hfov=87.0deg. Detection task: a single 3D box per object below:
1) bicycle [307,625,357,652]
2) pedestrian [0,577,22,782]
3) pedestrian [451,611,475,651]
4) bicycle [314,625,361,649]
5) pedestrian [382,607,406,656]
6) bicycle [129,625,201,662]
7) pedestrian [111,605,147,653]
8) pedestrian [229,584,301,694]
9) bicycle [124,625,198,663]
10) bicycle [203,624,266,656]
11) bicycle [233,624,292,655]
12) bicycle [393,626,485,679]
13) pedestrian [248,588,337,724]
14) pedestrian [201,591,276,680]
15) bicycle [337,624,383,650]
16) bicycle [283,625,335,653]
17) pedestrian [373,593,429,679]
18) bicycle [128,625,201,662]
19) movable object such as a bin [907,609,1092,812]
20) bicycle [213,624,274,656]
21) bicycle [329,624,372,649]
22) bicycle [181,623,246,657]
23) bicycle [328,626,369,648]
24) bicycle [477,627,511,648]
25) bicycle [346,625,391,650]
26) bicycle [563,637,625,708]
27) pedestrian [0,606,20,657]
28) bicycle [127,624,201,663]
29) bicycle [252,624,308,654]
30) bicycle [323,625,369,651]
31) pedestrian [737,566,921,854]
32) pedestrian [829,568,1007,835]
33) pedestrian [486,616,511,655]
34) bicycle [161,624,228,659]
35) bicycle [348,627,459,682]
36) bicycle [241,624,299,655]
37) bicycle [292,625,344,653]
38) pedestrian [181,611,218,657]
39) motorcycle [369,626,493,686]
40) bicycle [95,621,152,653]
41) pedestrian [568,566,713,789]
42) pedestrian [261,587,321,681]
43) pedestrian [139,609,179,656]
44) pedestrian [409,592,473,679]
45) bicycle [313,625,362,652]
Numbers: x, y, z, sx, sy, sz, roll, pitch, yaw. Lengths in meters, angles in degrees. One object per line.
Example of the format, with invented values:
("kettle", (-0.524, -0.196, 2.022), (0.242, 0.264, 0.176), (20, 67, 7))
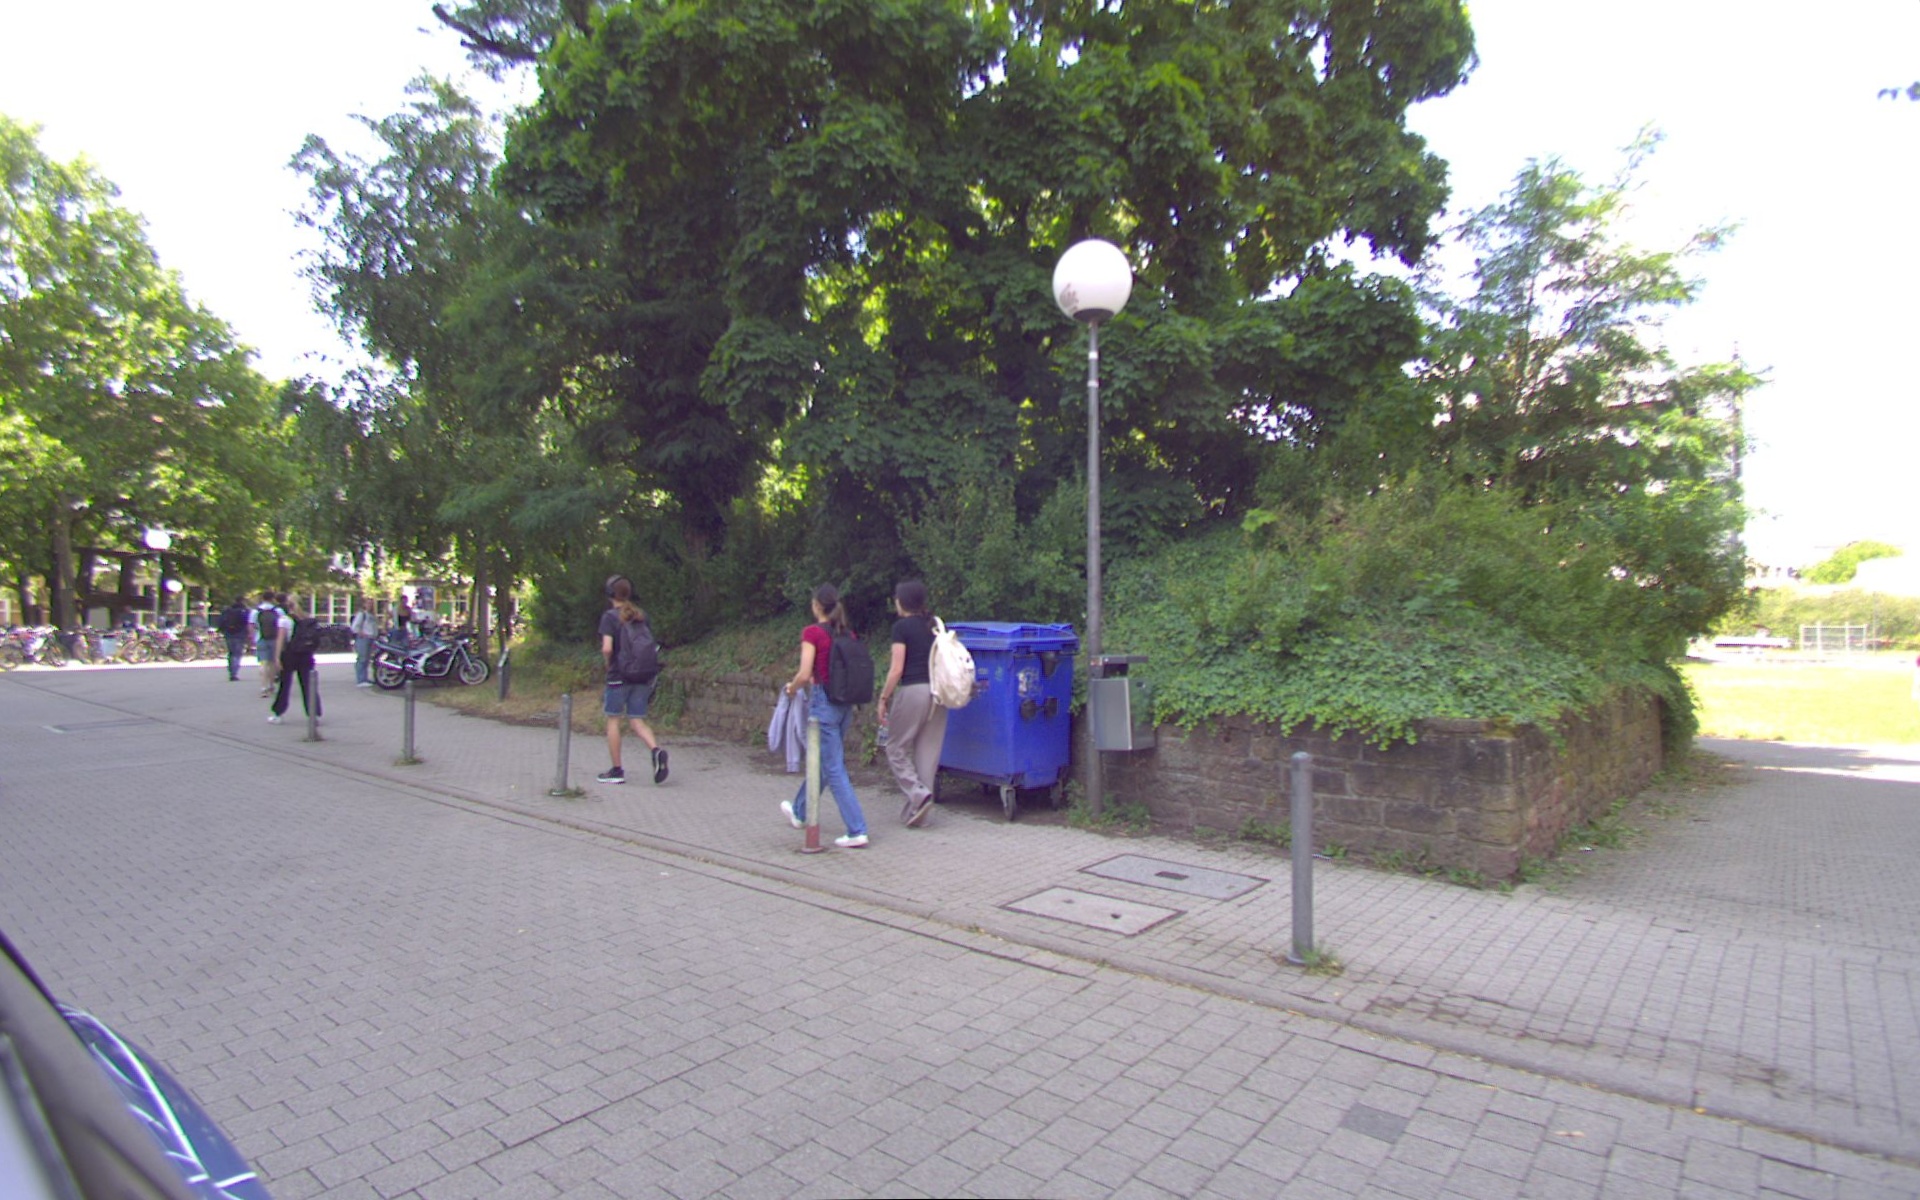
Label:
("bicycle", (-25.498, 1.568, 41.131), (1.673, 1.092, 0.475), (0, -1, -7))
("pedestrian", (-8.465, 0.675, 8.336), (0.675, 1.737, 0.905), (0, -1, -7))
("pedestrian", (-22.766, 1.409, 46.376), (0.820, 1.829, 0.885), (0, -1, -17))
("bicycle", (-26.003, 1.555, 42.295), (1.716, 0.969, 0.452), (0, -1, 1))
("pedestrian", (-21.782, 1.218, 38.978), (0.603, 1.849, 1.053), (1, -1, -19))
("bicycle", (-24.310, 1.320, 30.983), (1.670, 1.092, 0.475), (1, -1, -31))
("pedestrian", (-31.707, 1.099, 38.615), (0.701, 1.820, 0.768), (0, -1, 7))
("pedestrian", (-12.353, 0.671, 17.983), (1.080, 1.895, 0.717), (0, -1, 36))
("bicycle", (-23.752, 1.285, 30.118), (1.695, 1.092, 0.475), (1, -1, -36))
("bicycle", (-24.679, 1.351, 34.450), (1.671, 1.092, 0.475), (0, -1, -12))
("bicycle", (-25.117, 1.416, 36.461), (1.671, 1.092, 0.475), (0, -1, -15))
("bicycle", (-10.948, 1.102, 21.268), (1.675, 1.055, 0.474), (-1, 0, -1))
("pedestrian", (-8.897, 0.710, 13.487), (1.000, 1.741, 0.676), (0, 0, 36))
("pedestrian", (-15.639, 0.757, 21.954), (0.876, 1.872, 1.032), (0, -1, 2))
("bicycle", (-25.683, 1.595, 43.316), (1.676, 1.092, 0.474), (0, -1, 1))
("bicycle", (-25.549, 1.527, 39.737), (1.671, 1.092, 0.475), (0, -1, -15))
("pedestrian", (-11.412, 0.734, 20.690), (0.722, 1.737, 0.685), (0, -2, 4))
("bicycle", (-24.018, 1.310, 30.588), (1.670, 1.092, 0.475), (1, -1, -31))
("movable object such as a bin", (0.271, 0.755, 7.517), (0.700, 1.346, 1.241), (-2, 0, -40))
("bicycle", (-25.038, 1.385, 35.391), (1.671, 1.092, 0.475), (0, -1, -15))
("bicycle", (-27.385, 1.643, 45.477), (1.676, 1.092, 0.474), (0, -1, 1))
("bicycle", (-24.547, 1.312, 33.296), (1.672, 1.092, 0.475), (0, -1, -9))
("bicycle", (-32.273, 1.942, 53.407), (1.983, 1.116, 0.501), (0, -1, 10))
("bicycle", (-25.064, 2.005, 54.447), (1.681, 1.092, 0.472), (0, -1, 11))
("bicycle", (-25.780, 1.631, 44.131), (1.676, 1.092, 0.474), (0, -1, 1))
("bicycle", (-5.431, 1.049, 14.972), (0.416, 0.917, 1.744), (1, 0, -35))
("pedestrian", (-32.394, 1.062, 34.135), (0.757, 1.692, 0.910), (1, -3, -30))
("bicycle", (-23.371, 1.257, 29.740), (1.672, 1.118, 0.475), (1, -1, -38))
("bicycle", (-25.311, 1.447, 37.677), (1.671, 1.092, 0.475), (0, -1, -15))
("bicycle", (-25.973, 1.602, 42.841), (1.676, 1.092, 0.474), (0, -1, 1))
("pedestrian", (-0.811, 0.624, 6.283), (0.912, 1.633, 0.676), (0, -1, 36))
("pedestrian", (-0.279, 0.623, 6.770), (0.976, 1.633, 0.676), (0, -1, 36))
("pedestrian", (-21.886, 1.682, 48.012), (0.758, 1.817, 0.985), (0, -1, -4))
("bicycle", (-24.324, 1.305, 32.188), (1.672, 1.092, 0.475), (0, -1, -9))
("bicycle", (-10.973, 1.065, 19.972), (1.881, 1.055, 0.542), (0, -1, -1))
("bicycle", (-25.182, 1.437, 36.964), (1.671, 1.092, 0.475), (0, -1, -15))
("bicycle", (-25.589, 1.544, 40.348), (1.671, 1.092, 0.475), (0, -1, -15))
("pedestrian", (-28.412, 1.258, 37.813), (0.891, 1.716, 0.772), (0, -1, -19))
("motorcycle", (-9.754, 1.026, 18.707), (1.994, 1.055, 0.475), (-1, -1, -7))
("bicycle", (-31.620, 1.402, 38.272), (1.676, 1.209, 0.576), (0, -1, 1))
("pedestrian", (-2.677, 0.609, 8.481), (1.018, 1.741, 0.676), (0, -1, 36))
("pedestrian", (-13.892, 0.688, 21.014), (1.118, 1.887, 0.676), (0, -1, 36))
("pedestrian", (-29.517, 1.186, 37.305), (0.892, 1.716, 0.772), (0, -1, -13))
("pedestrian", (-10.565, 0.722, 20.623), (0.925, 1.737, 0.676), (0, -2, 4))
("bicycle", (-25.604, 1.584, 41.655), (1.673, 1.092, 0.475), (0, -1, -7))
